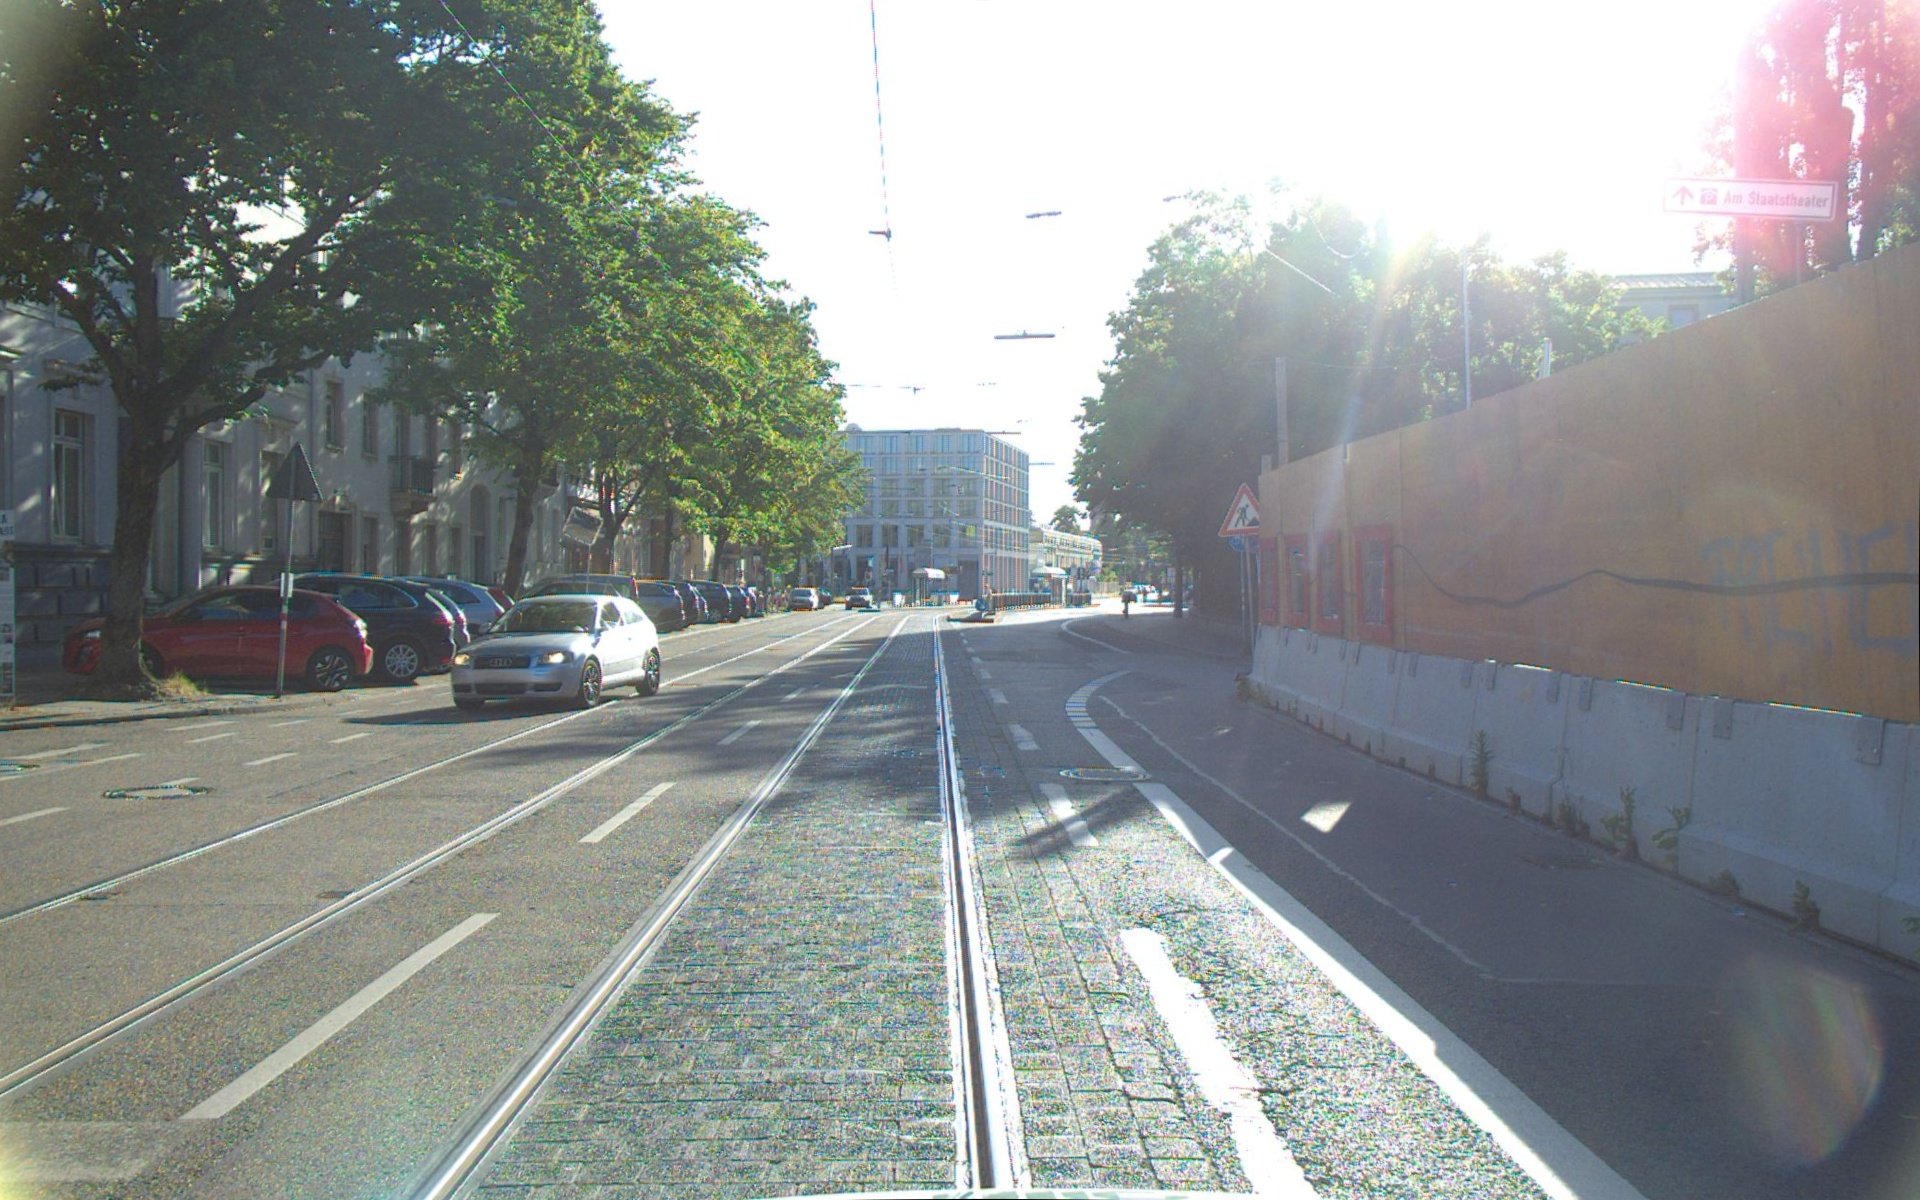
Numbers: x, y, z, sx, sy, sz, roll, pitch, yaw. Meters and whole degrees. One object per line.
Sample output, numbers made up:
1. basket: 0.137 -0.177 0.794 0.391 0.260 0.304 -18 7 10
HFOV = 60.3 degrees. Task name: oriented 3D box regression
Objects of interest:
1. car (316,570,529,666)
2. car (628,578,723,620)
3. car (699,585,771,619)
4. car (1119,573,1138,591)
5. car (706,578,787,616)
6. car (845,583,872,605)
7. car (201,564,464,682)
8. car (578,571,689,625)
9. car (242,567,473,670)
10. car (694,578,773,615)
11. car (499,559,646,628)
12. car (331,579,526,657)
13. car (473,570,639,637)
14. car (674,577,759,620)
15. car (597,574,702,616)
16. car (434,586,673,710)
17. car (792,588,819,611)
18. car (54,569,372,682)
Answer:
1. car: -10.385 0.309 32.049 3.645 1.751 1.591 -1 1 -36
2. car: -10.428 -0.055 60.575 3.227 1.510 1.460 0 0 -23
3. car: -10.947 0.097 80.579 3.227 1.613 1.460 0 1 -23
4. car: 19.408 -2.123 190.894 1.951 2.049 4.004 0 1 9
5. car: -9.216 -0.150 71.339 3.227 1.613 1.460 0 0 -23
6. car: -7.434 -0.455 121.683 1.525 1.557 4.002 0 0 3
7. car: -9.957 0.321 26.343 3.645 1.751 1.591 -1 1 -36
8. car: -10.744 -0.068 54.486 3.336 1.727 1.392 0 0 -29
9. car: -10.542 0.287 28.981 3.524 1.691 1.717 0 0 -34
10. car: -10.031 -0.165 73.372 3.227 1.613 1.460 0 0 -23
11. car: -11.197 -0.163 47.797 3.789 1.864 1.714 2 0 -31
12. car: -11.141 0.336 34.741 3.645 1.554 1.464 -1 1 -36
13. car: -10.906 0.100 44.734 4.113 1.751 1.569 0 0 -29
14. car: -9.989 -0.069 67.933 3.227 1.728 1.460 0 0 -23
15. car: -10.777 -0.166 57.427 3.336 1.444 1.392 0 0 -29
16. car: -5.244 0.557 21.932 1.673 1.461 4.174 0 1 7
17. car: -10.376 -0.077 111.222 1.541 1.516 3.999 0 0 -1
18. car: -10.490 0.373 23.323 3.868 1.478 1.618 2 -1 -35
